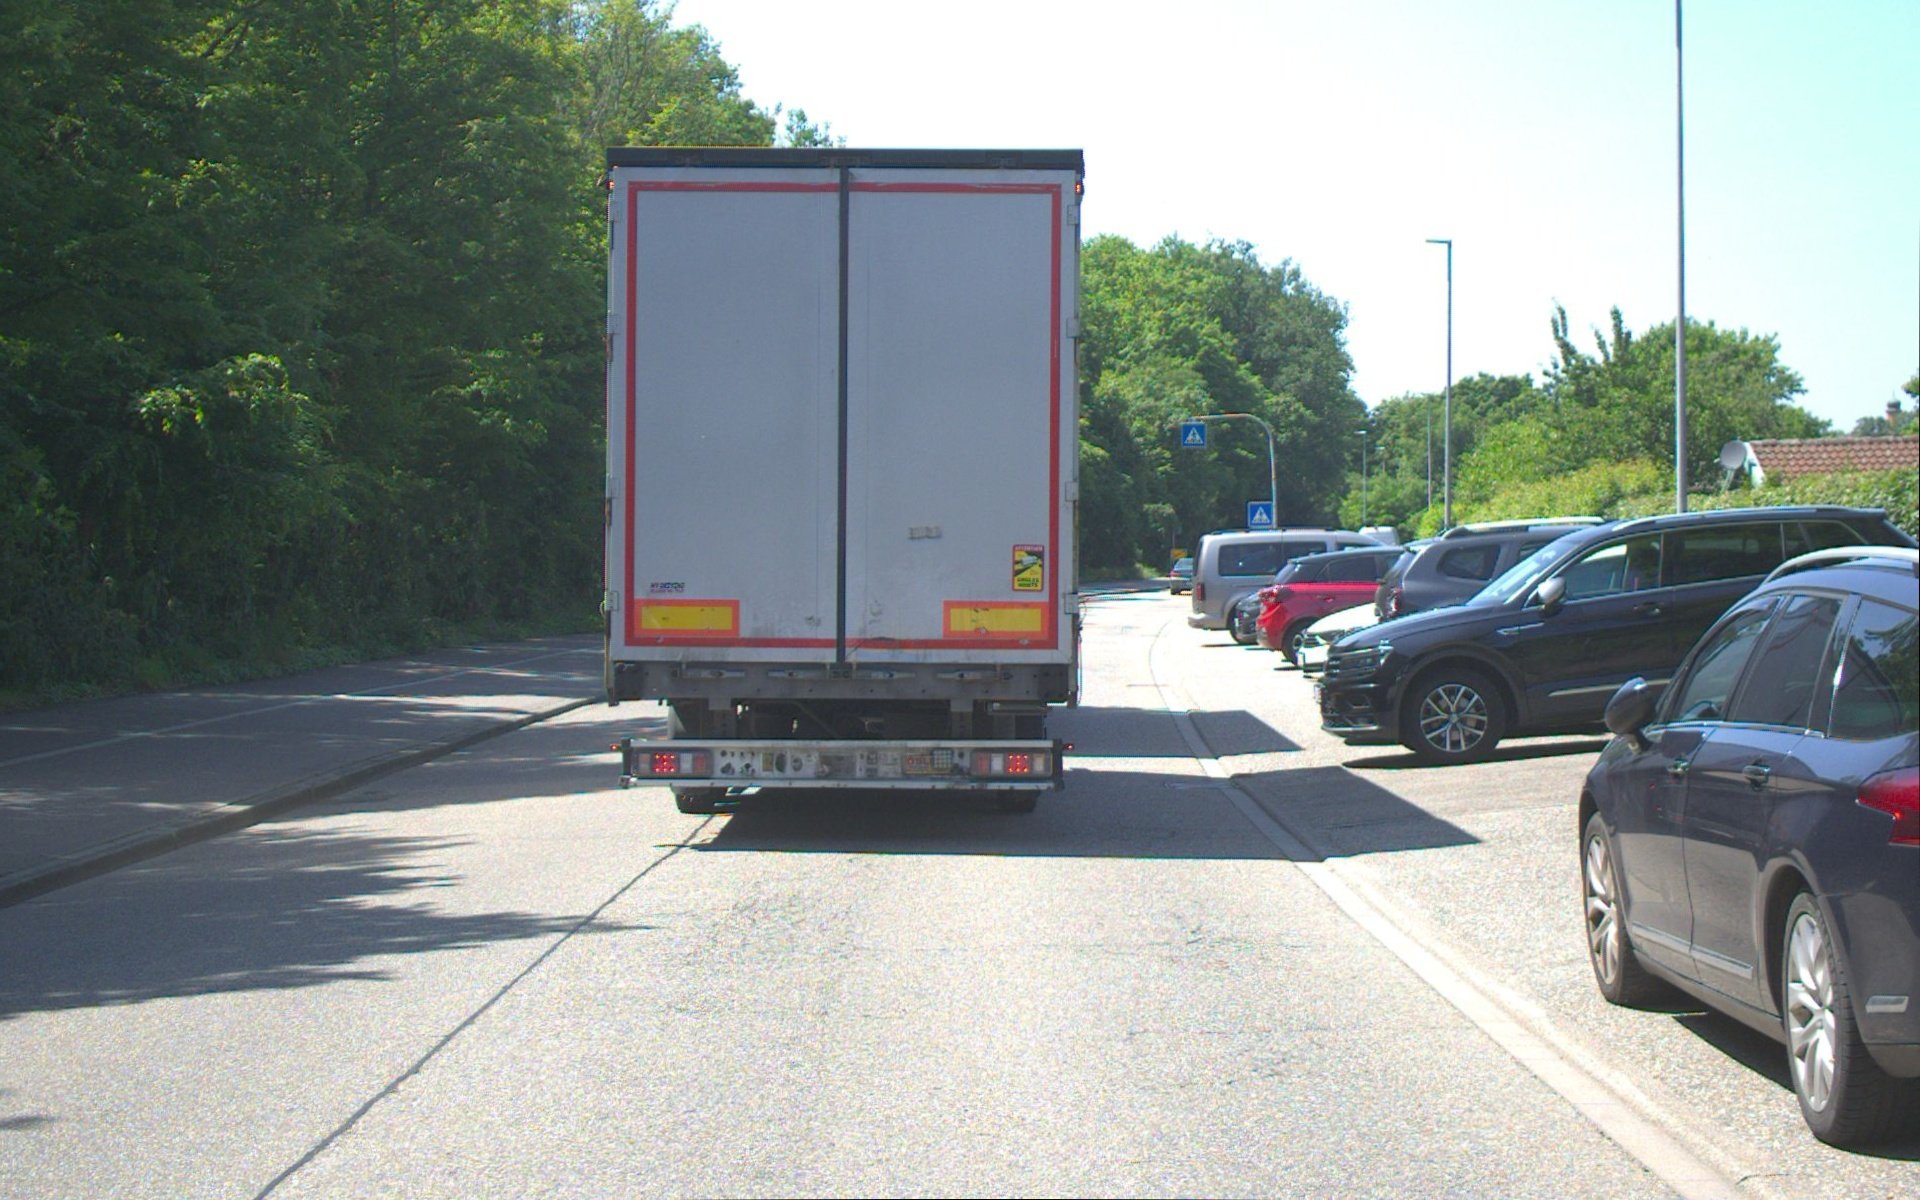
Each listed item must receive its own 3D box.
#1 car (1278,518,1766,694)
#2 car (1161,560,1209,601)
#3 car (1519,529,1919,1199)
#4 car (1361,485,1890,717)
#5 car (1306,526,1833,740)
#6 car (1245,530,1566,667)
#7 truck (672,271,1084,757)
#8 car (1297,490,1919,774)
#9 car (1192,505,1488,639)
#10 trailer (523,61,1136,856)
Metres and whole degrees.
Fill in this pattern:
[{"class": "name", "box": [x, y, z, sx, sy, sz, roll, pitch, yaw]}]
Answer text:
[{"class": "car", "box": [5.670, 0.041, 35.106, 4.558, 1.434, 1.961, -4, 1, -1]}, {"class": "car", "box": [8.494, -0.742, 129.592, 1.781, 1.481, 4.000, 0, 1, 4]}, {"class": "car", "box": [2.928, 0.566, 9.942, 1.789, 1.477, 4.665, -4, 1, 0]}, {"class": "car", "box": [5.769, -0.010, 30.207, 4.258, 1.692, 1.853, -4, 1, 4]}, {"class": "car", "box": [4.852, 0.244, 27.813, 3.997, 1.447, 1.831, -3, 1, 6]}, {"class": "car", "box": [5.722, -0.032, 44.541, 3.919, 1.473, 1.845, -4, 1, 3]}, {"class": "truck", "box": [-0.601, -0.730, 30.193, 3.114, 3.712, 6.414, -2, 1, 1]}, {"class": "car", "box": [4.833, 0.200, 25.056, 4.470, 1.698, 1.914, -4, 1, 0]}, {"class": "car", "box": [6.179, -0.471, 56.296, 4.621, 1.842, 1.995, -4, 1, 4]}, {"class": "trailer", "box": [-0.653, -0.826, 23.806, 3.113, 4.088, 11.537, -1, 1, 0]}]
